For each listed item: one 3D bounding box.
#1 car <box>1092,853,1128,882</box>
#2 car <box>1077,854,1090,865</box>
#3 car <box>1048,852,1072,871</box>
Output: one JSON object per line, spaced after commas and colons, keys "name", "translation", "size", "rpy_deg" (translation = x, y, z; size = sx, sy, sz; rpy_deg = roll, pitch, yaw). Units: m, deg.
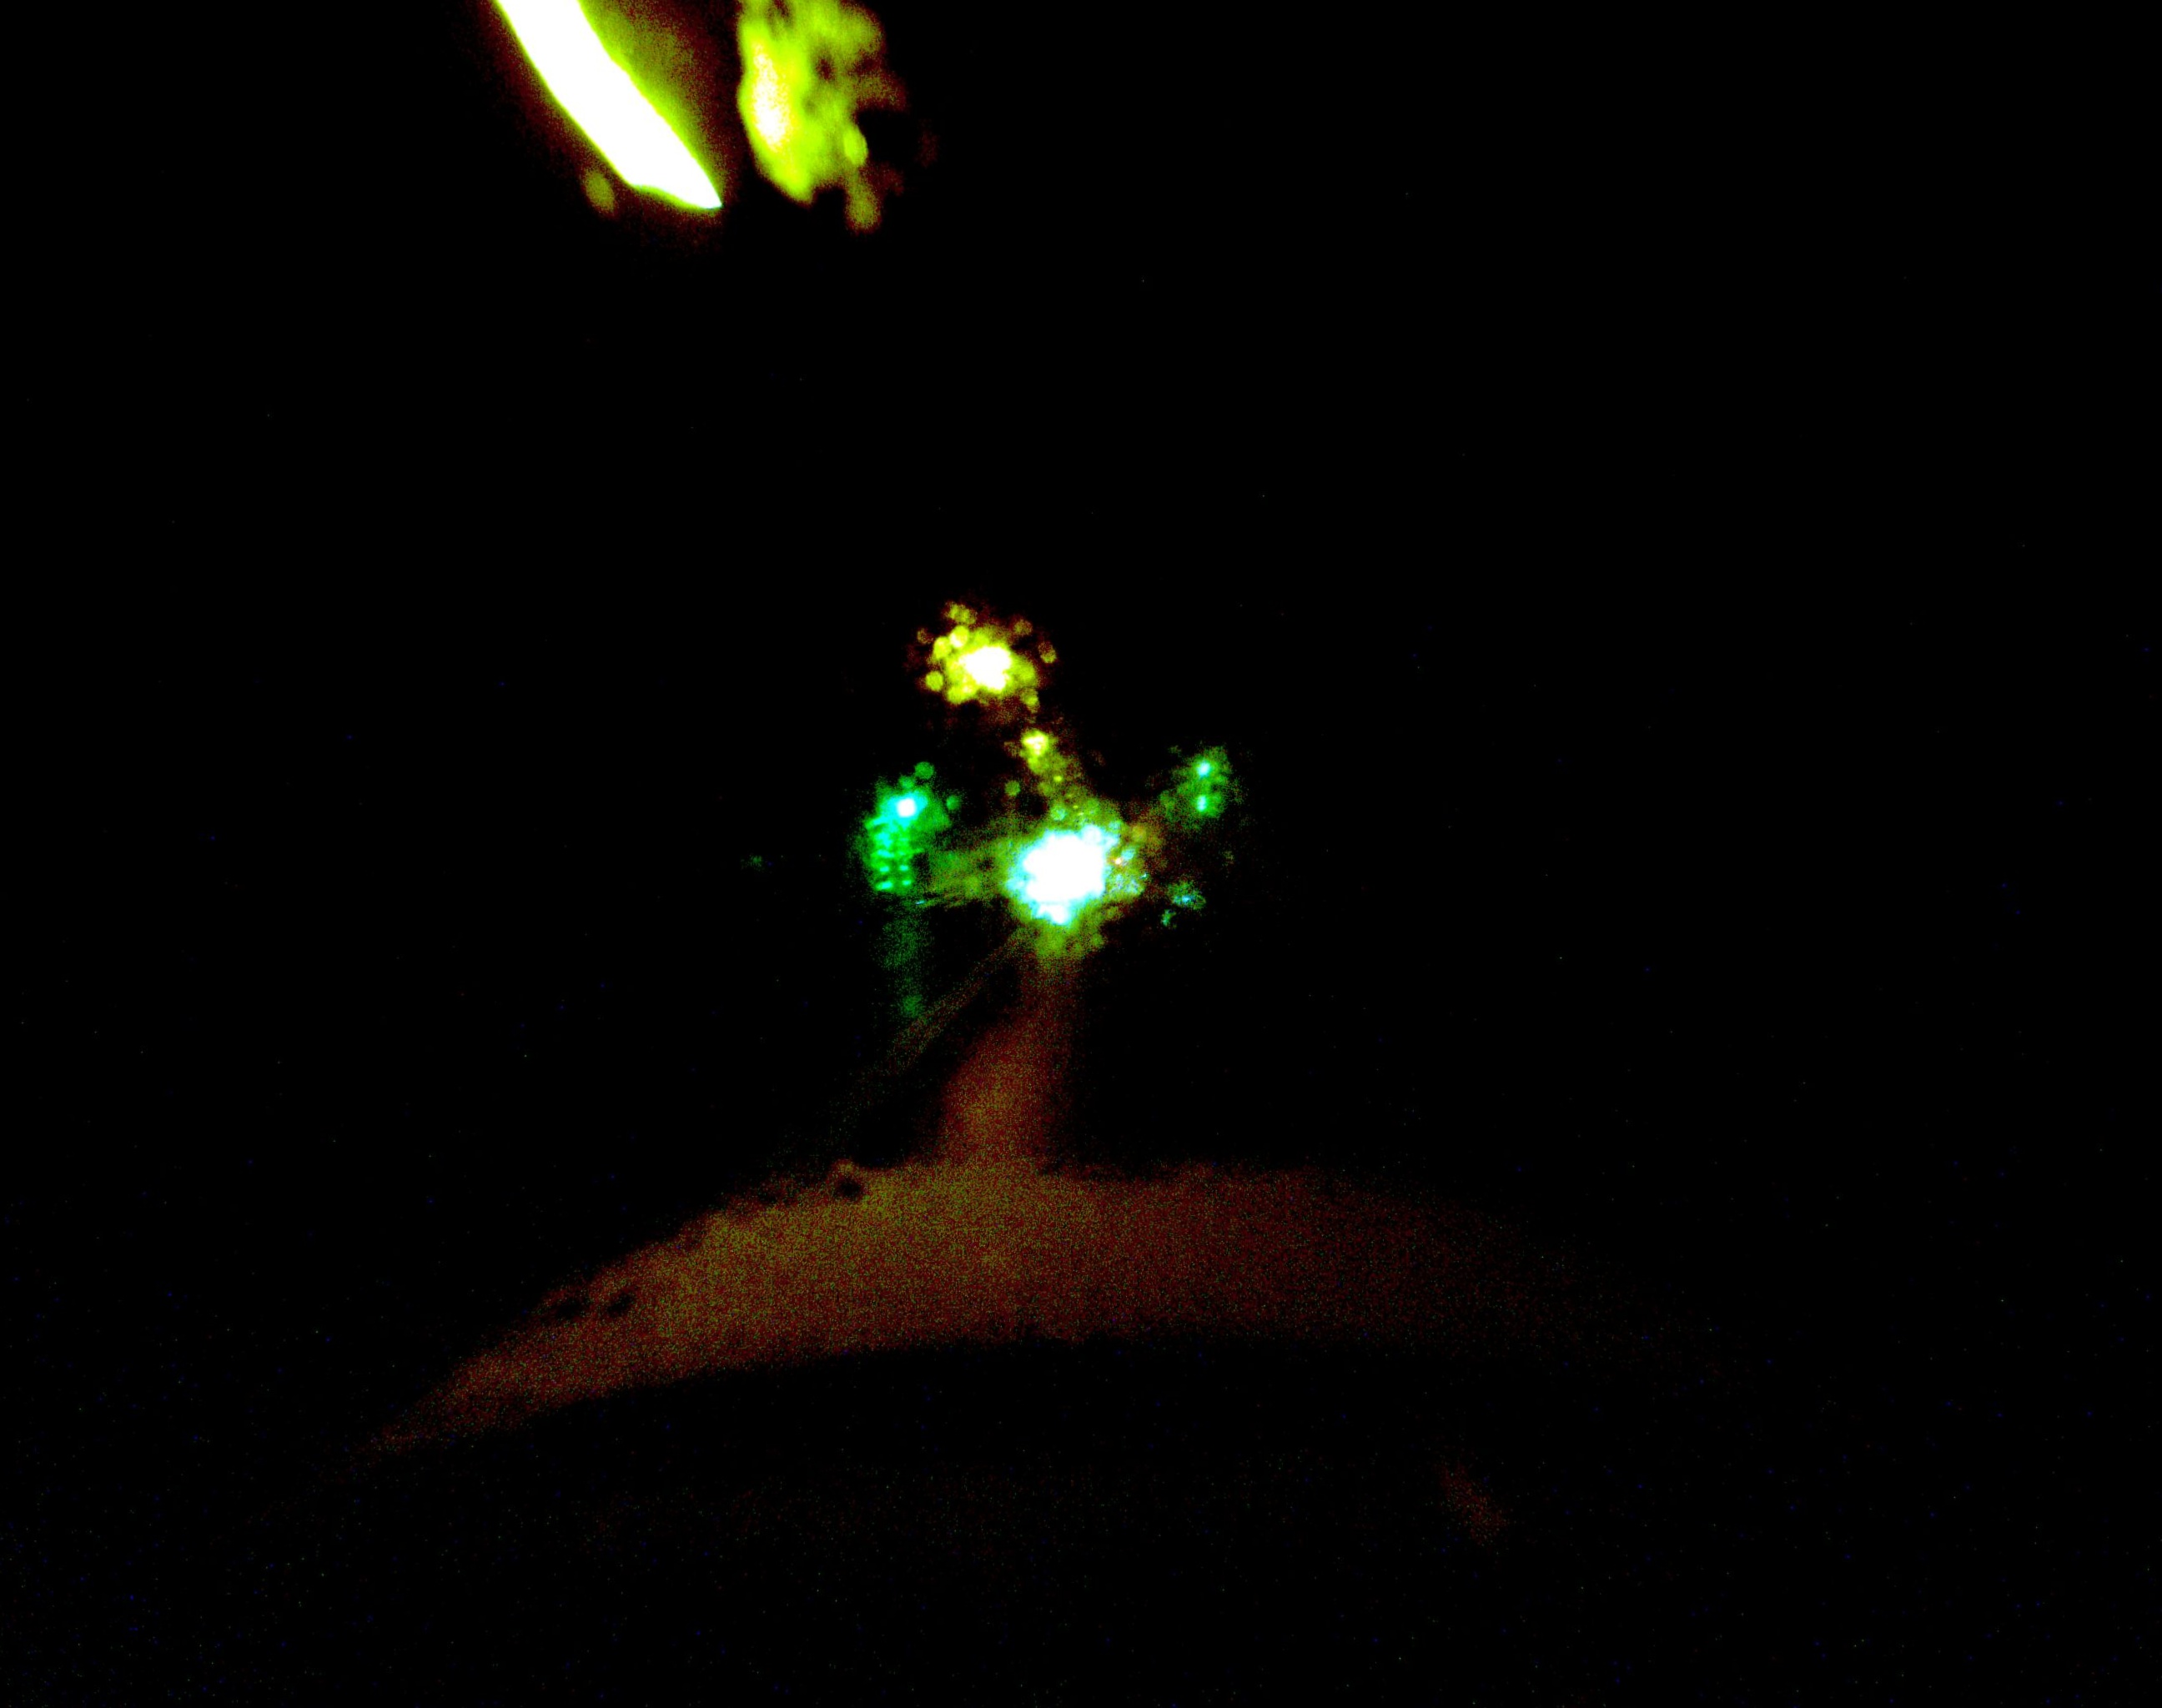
{"name": "car", "translation": [1.757, 0.814, 49.567], "size": [2.082, 1.662, 4.001], "rpy_deg": [-1, 0, 1]}
{"name": "car", "translation": [0.350, 0.698, 113.063], "size": [1.704, 1.462, 3.576], "rpy_deg": [-2, 0, 2]}
{"name": "car", "translation": [-1.656, 0.581, 64.649], "size": [1.685, 1.505, 3.745], "rpy_deg": [-1, 0, 1]}
